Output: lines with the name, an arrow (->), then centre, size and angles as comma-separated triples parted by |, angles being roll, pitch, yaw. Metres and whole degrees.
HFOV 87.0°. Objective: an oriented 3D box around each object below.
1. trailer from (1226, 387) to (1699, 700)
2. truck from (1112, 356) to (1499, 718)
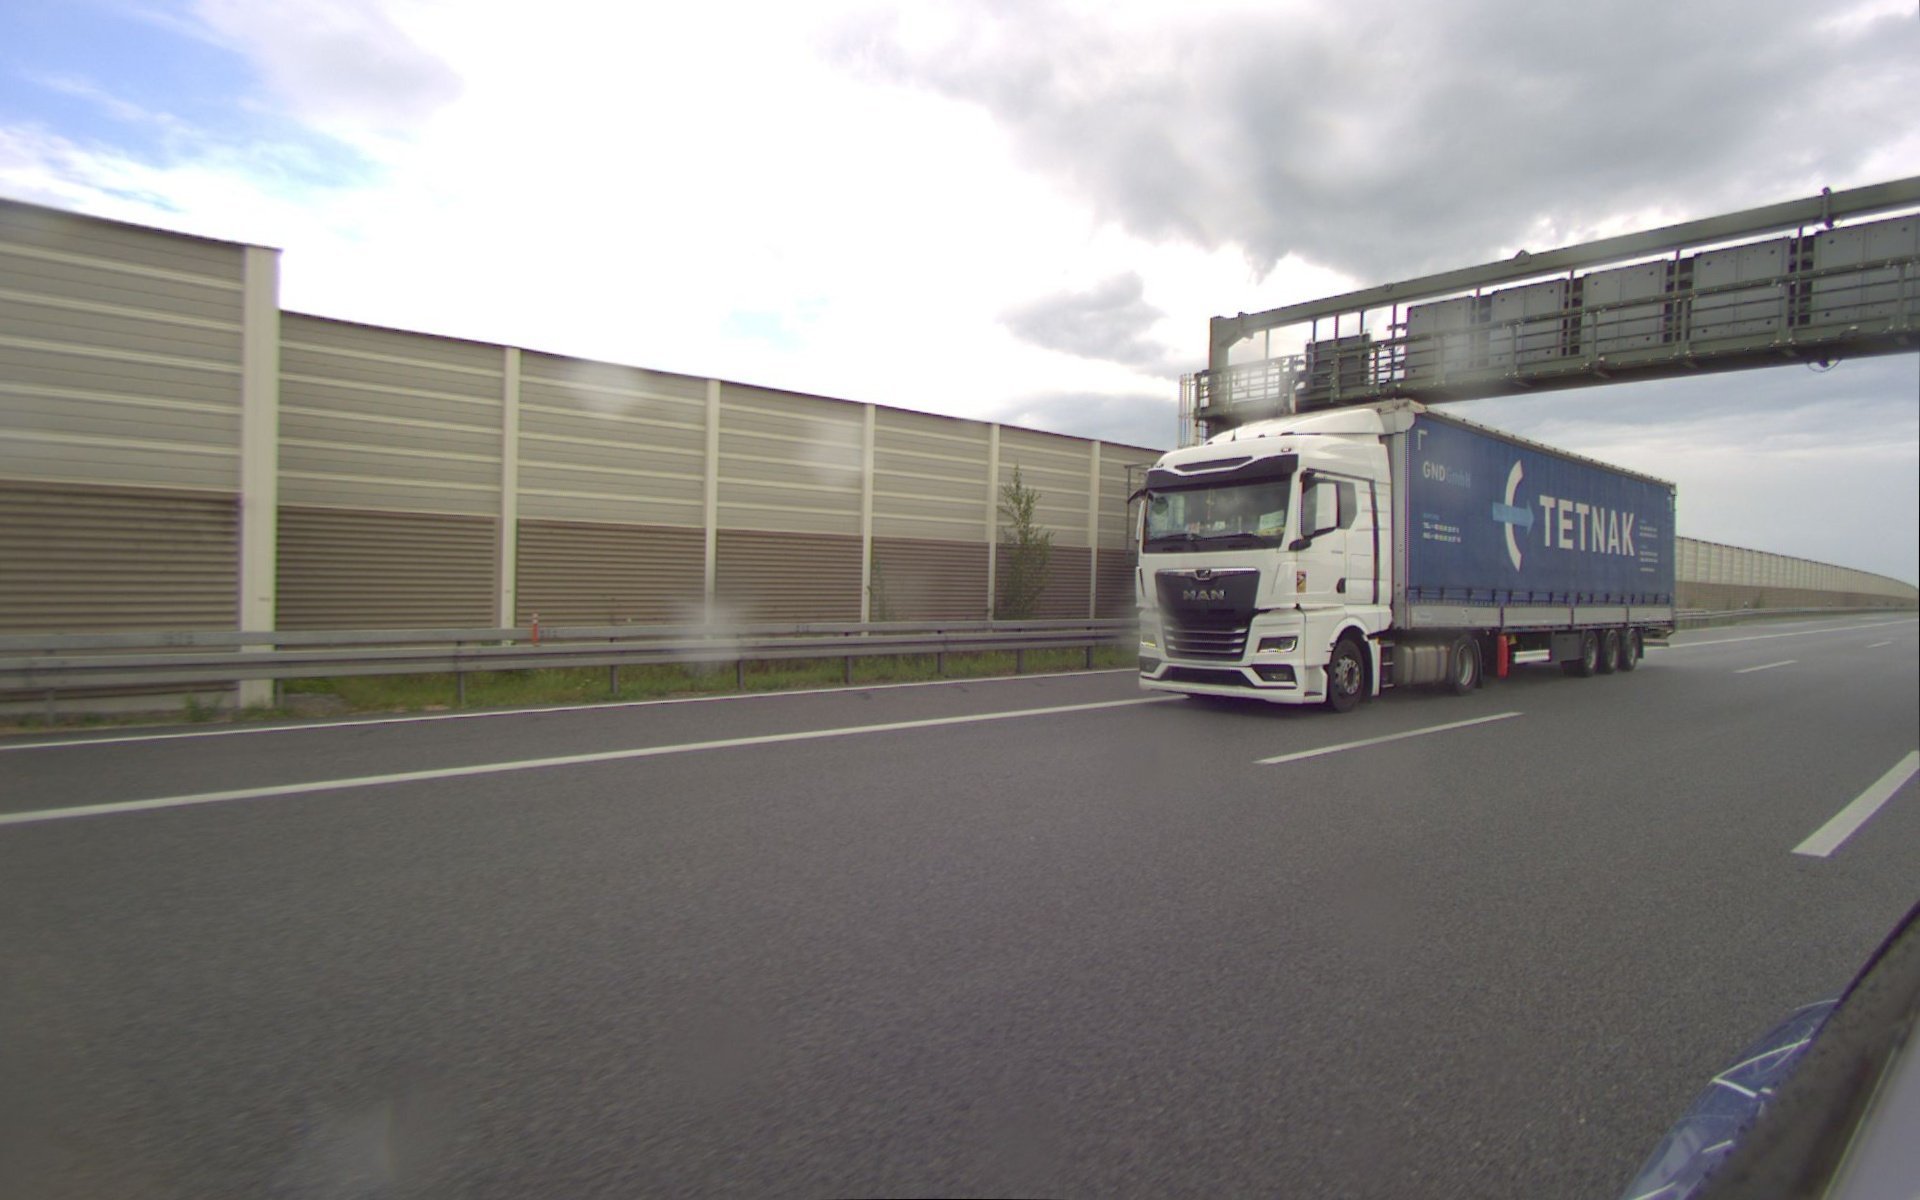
trailer -> 10.261, -0.749, 18.936 | 14.201, 4.082, 2.766 | 0, 1, -42
truck -> 5.056, -0.732, 14.343 | 5.626, 4.085, 2.749 | 0, 0, -41
